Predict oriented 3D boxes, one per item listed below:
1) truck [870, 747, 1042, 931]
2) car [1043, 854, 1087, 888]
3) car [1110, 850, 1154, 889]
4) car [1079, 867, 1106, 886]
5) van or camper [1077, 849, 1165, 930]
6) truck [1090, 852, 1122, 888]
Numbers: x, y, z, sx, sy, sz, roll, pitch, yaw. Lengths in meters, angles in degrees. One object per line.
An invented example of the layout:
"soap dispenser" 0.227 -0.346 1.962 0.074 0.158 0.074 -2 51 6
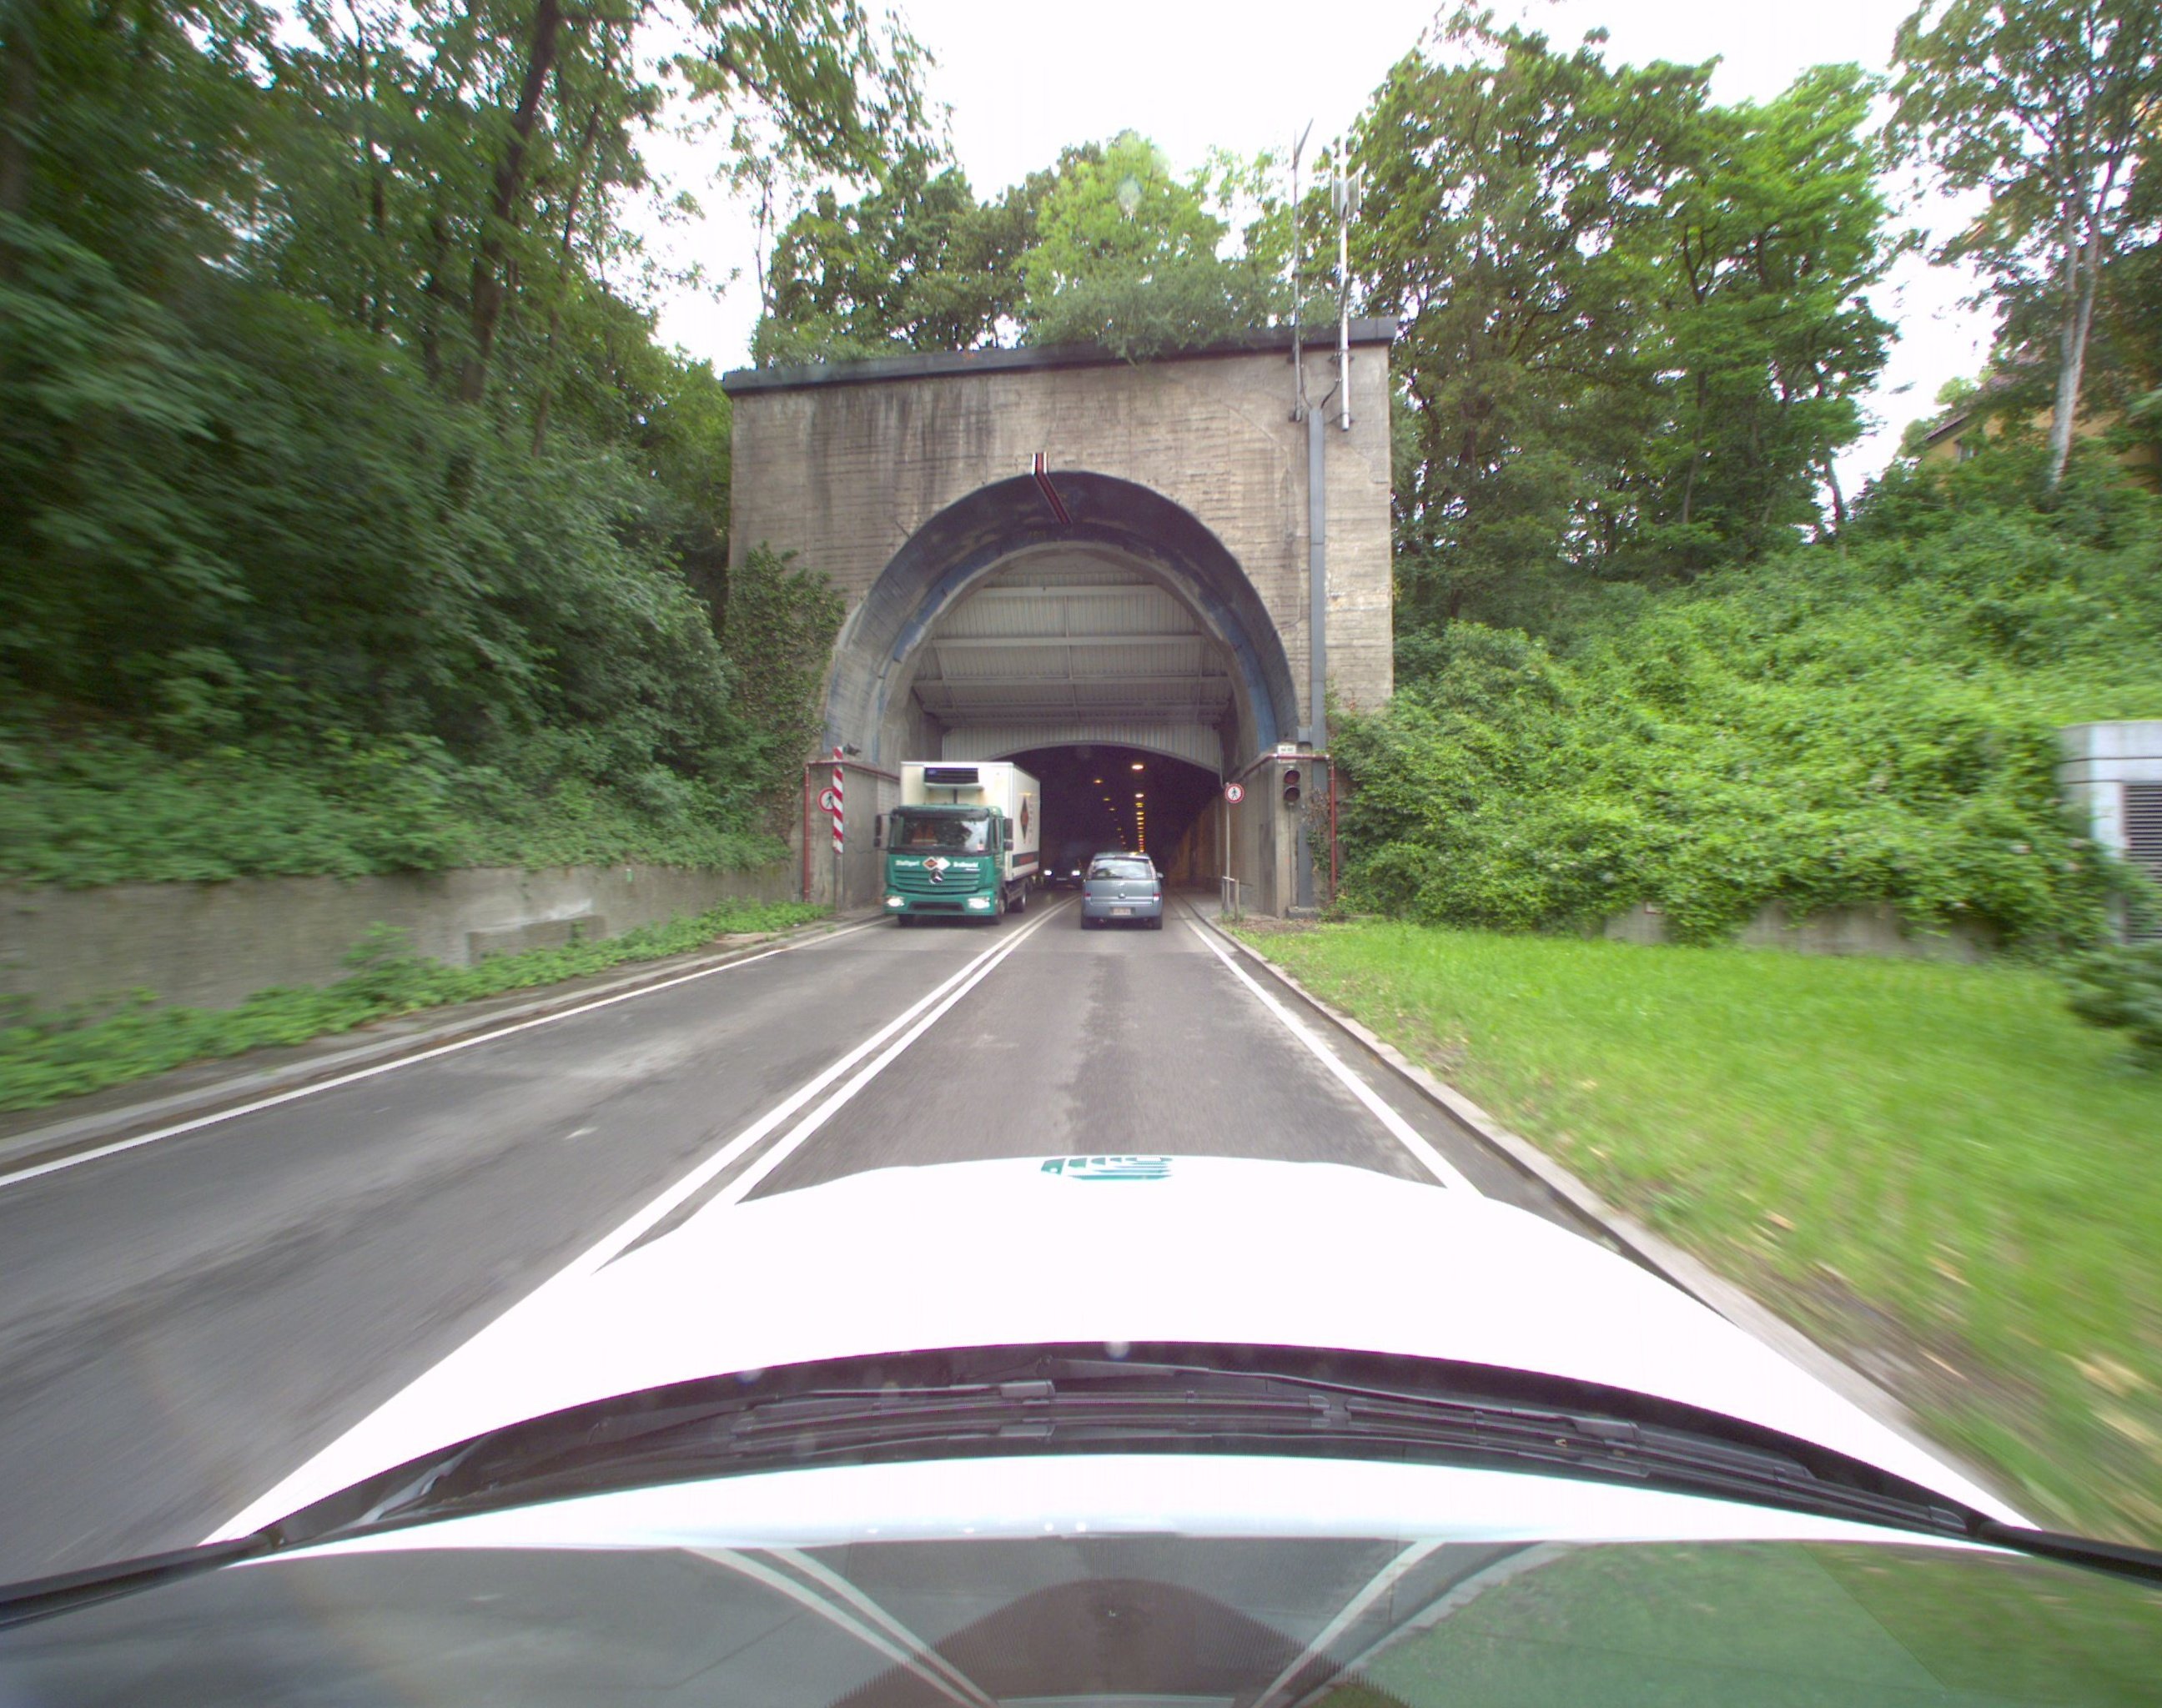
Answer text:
"truck" -2.672 -0.289 19.990 2.664 3.667 7.524 0 0 3
"car" -0.763 0.866 42.027 1.870 1.676 4.381 0 -1 4
"car" 2.526 0.720 39.457 1.984 1.653 4.007 -1 1 5
"car" 0.926 1.856 65.654 1.884 1.469 4.165 1 -2 4
"van or camper" 0.884 0.707 17.933 1.728 1.578 3.649 0 0 3
"truck" 2.819 1.846 89.790 2.799 3.717 7.558 0 -3 7
